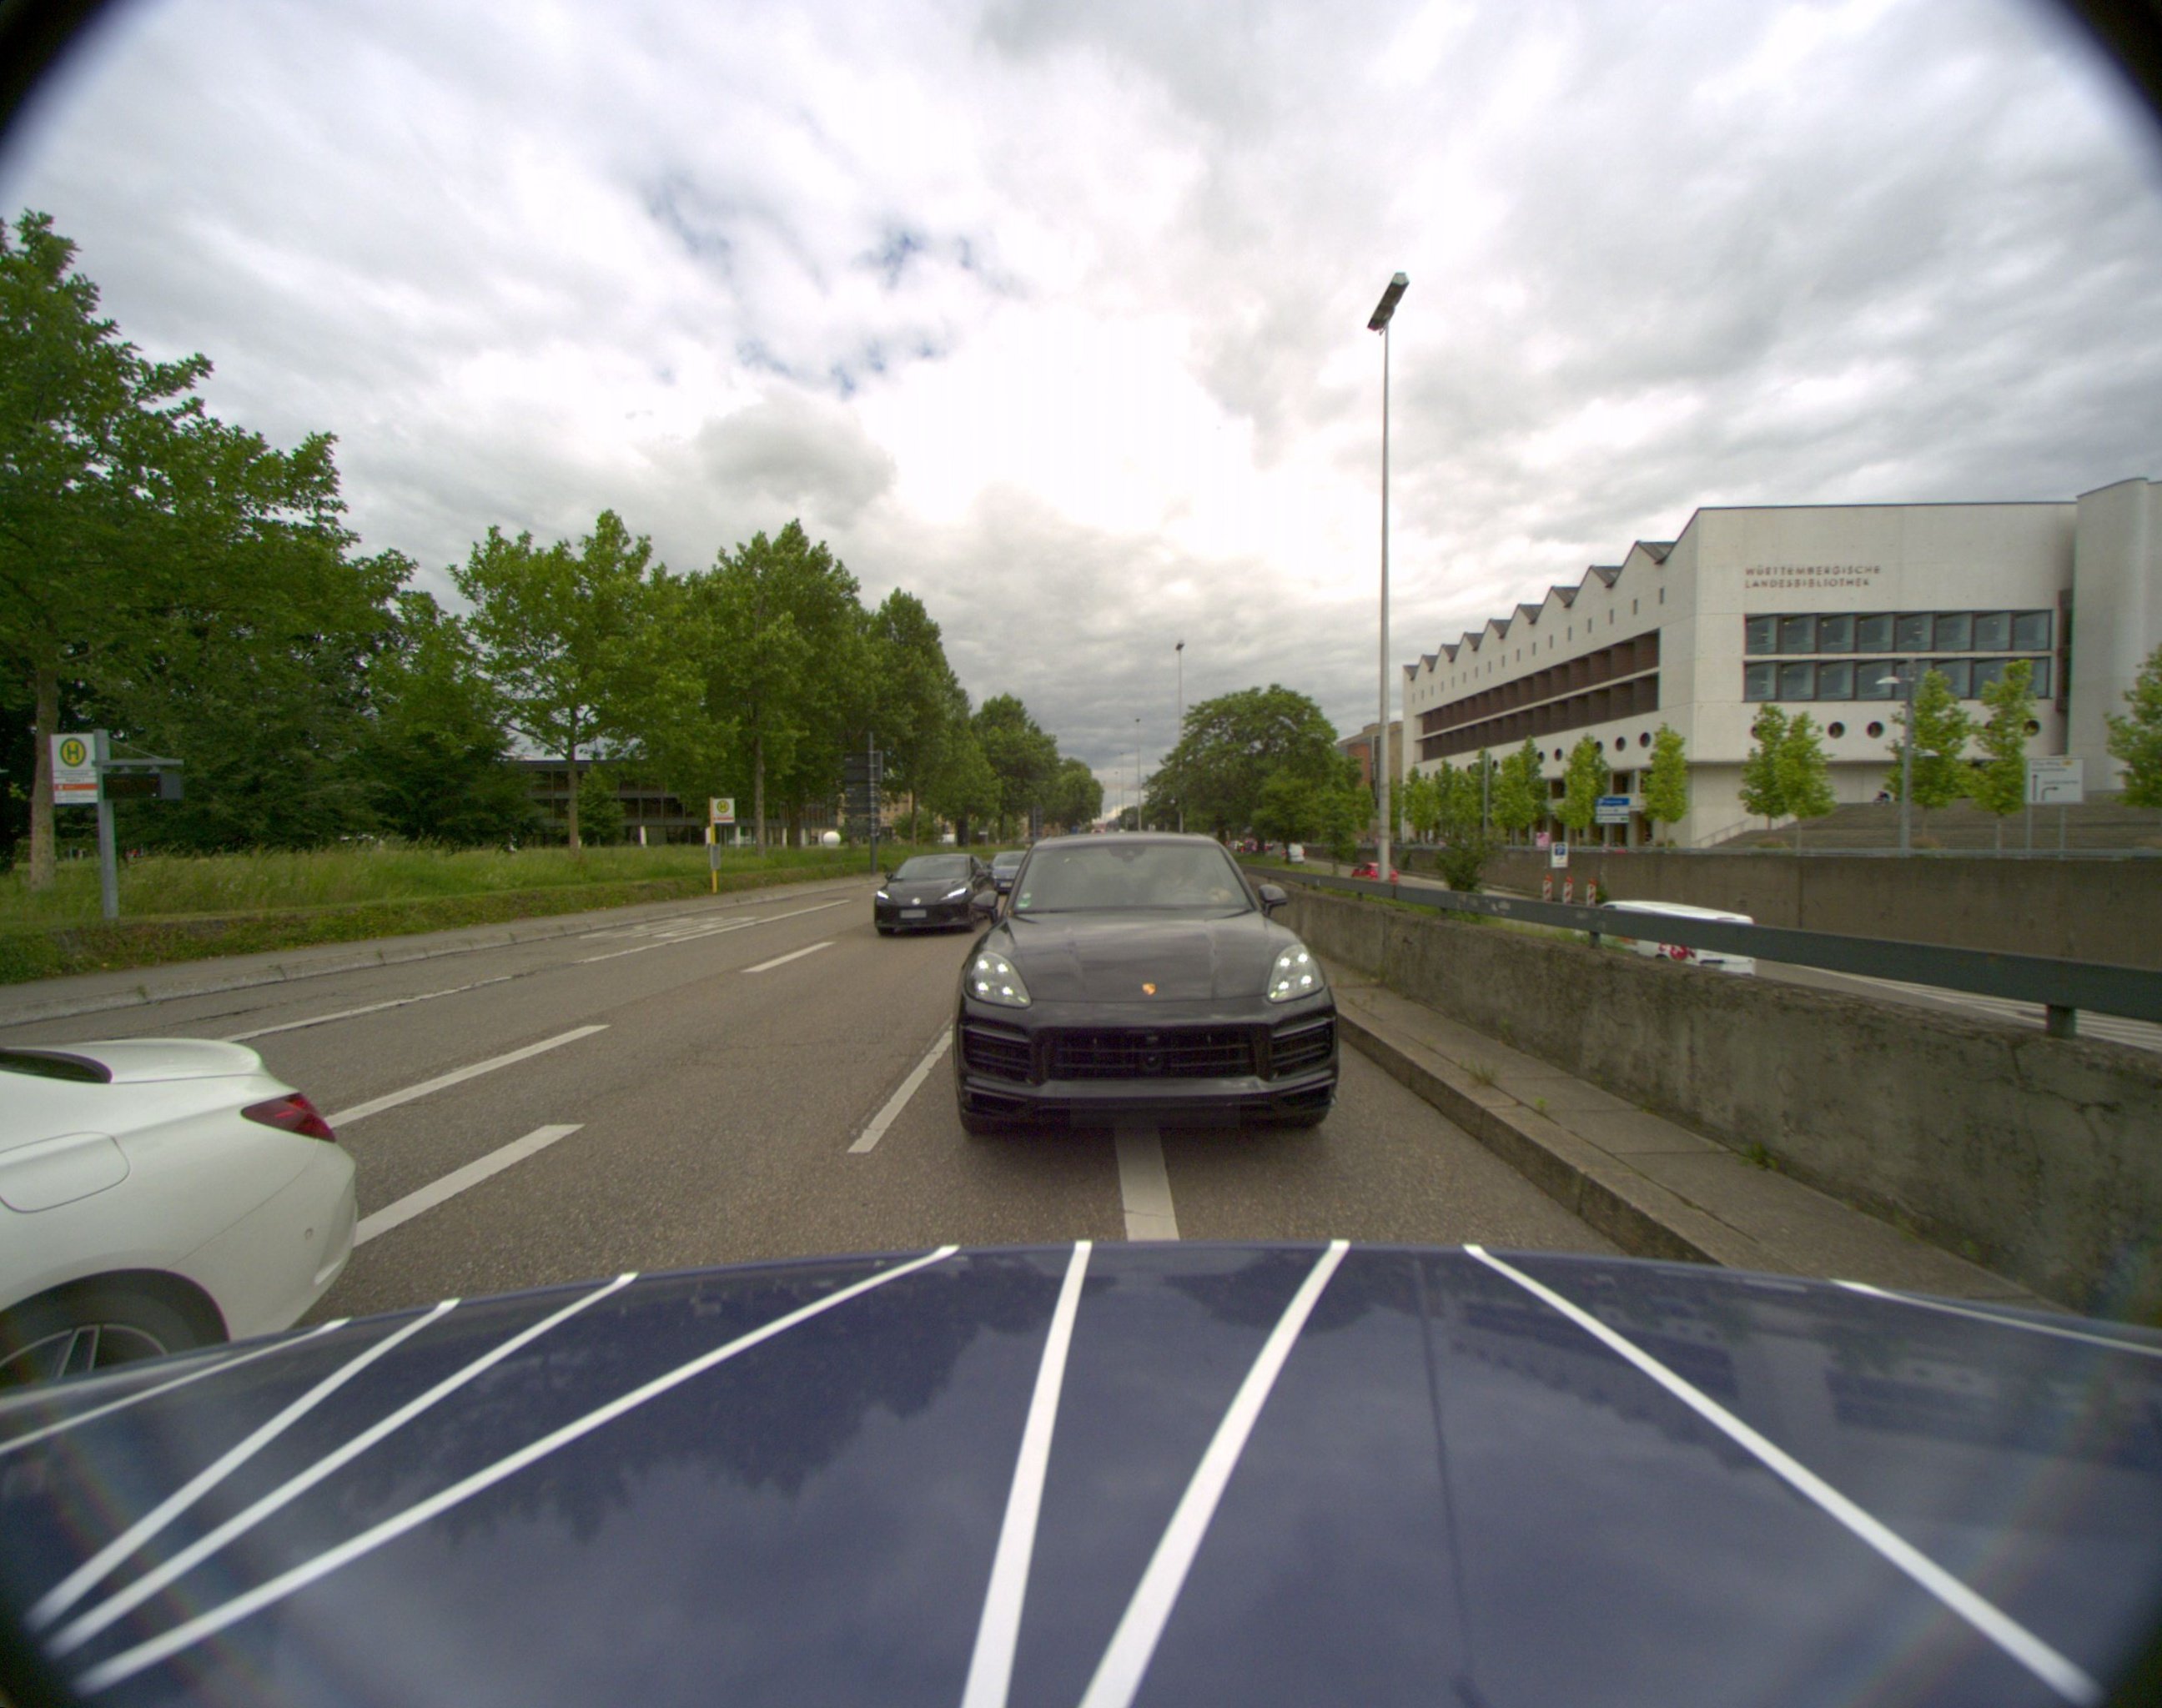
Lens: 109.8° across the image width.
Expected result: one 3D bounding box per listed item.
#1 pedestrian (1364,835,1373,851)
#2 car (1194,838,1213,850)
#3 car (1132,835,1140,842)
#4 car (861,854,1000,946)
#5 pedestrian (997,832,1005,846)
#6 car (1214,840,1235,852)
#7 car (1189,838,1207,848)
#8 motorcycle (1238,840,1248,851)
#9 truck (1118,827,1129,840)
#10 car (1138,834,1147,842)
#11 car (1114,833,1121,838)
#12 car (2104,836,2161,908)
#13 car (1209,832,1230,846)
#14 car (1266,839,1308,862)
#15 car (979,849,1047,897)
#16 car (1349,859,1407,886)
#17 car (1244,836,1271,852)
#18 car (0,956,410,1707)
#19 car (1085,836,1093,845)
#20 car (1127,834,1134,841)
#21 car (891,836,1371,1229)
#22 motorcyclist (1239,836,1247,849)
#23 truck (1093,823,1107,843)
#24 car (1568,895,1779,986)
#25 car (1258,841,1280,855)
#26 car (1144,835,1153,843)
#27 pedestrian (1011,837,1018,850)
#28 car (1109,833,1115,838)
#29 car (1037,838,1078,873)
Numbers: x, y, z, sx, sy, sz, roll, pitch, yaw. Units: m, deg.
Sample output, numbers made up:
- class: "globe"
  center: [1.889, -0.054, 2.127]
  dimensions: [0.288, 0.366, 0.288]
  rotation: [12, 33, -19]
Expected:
- class: "pedestrian"
  center: [35.917, -1.381, 95.001]
  dimensions: [0.722, 2.002, 1.016]
  rotation: [-3, 2, 2]
- class: "car"
  center: [17.404, -1.474, 108.116]
  dimensions: [1.998, 1.665, 4.516]
  rotation: [2, 1, 0]
- class: "car"
  center: [11.296, -3.168, 156.344]
  dimensions: [1.372, 1.389, 3.722]
  rotation: [-1, -1, -1]
- class: "car"
  center: [-2.859, 0.808, 15.388]
  dimensions: [1.852, 1.481, 4.092]
  rotation: [-1, 1, 2]
- class: "pedestrian"
  center: [-11.249, -2.108, 106.416]
  dimensions: [0.892, 2.002, 1.181]
  rotation: [-3, 2, 2]
- class: "car"
  center: [20.972, -1.206, 111.325]
  dimensions: [2.161, 1.636, 4.515]
  rotation: [2, 3, -1]
- class: "car"
  center: [17.381, -1.600, 112.909]
  dimensions: [1.998, 1.390, 3.999]
  rotation: [2, 1, 0]
- class: "motorcycle"
  center: [17.900, -0.962, 84.069]
  dimensions: [0.687, 1.092, 2.049]
  rotation: [3, 4, 1]
- class: "truck"
  center: [11.343, -5.606, 204.108]
  dimensions: [2.576, 3.289, 8.078]
  rotation: [-3, 2, 2]
- class: "car"
  center: [11.594, -3.023, 142.531]
  dimensions: [1.372, 1.390, 3.721]
  rotation: [2, 1, 0]
- class: "car"
  center: [11.776, -5.900, 242.524]
  dimensions: [1.998, 1.753, 3.999]
  rotation: [2, 2, 0]
- class: "car"
  center: [28.623, 0.454, 18.063]
  dimensions: [2.180, 1.844, 4.734]
  rotation: [-1, 1, -3]
- class: "car"
  center: [16.939, -1.830, 93.241]
  dimensions: [1.779, 1.481, 4.143]
  rotation: [0, 4, 0]
- class: "car"
  center: [17.755, -0.368, 65.805]
  dimensions: [1.999, 1.630, 5.246]
  rotation: [5, 3, -1]
- class: "car"
  center: [-2.255, 0.590, 26.082]
  dimensions: [1.805, 1.426, 4.015]
  rotation: [-1, 1, 2]
- class: "car"
  center: [17.787, 1.069, 45.659]
  dimensions: [1.998, 1.477, 4.000]
  rotation: [-1, 1, 2]
- class: "car"
  center: [20.551, -1.136, 88.679]
  dimensions: [1.875, 1.604, 4.386]
  rotation: [0, 4, -3]
- class: "car"
  center: [-3.185, 1.100, 0.216]
  dimensions: [1.799, 1.412, 4.526]
  rotation: [-1, 1, 2]
- class: "car"
  center: [1.979, -3.253, 183.824]
  dimensions: [1.693, 2.002, 3.999]
  rotation: [-3, 2, 2]
- class: "car"
  center: [10.922, -3.640, 168.248]
  dimensions: [1.442, 1.390, 3.721]
  rotation: [2, 1, 0]
- class: "car"
  center: [0.326, 0.684, 5.435]
  dimensions: [1.904, 1.581, 4.732]
  rotation: [-1, 1, 3]
- class: "motorcyclist"
  center: [17.913, -1.276, 84.146]
  dimensions: [0.671, 1.345, 0.717]
  rotation: [3, 4, 0]
- class: "truck"
  center: [3.617, -3.888, 142.793]
  dimensions: [2.357, 3.518, 9.423]
  rotation: [-3, 2, 2]
- class: "car"
  center: [17.108, 2.397, 22.378]
  dimensions: [2.224, 2.002, 5.115]
  rotation: [-1, 1, 0]
- class: "car"
  center: [25.255, -0.886, 102.178]
  dimensions: [1.998, 1.753, 3.999]
  rotation: [2, 2, 0]
- class: "car"
  center: [11.907, -2.604, 134.361]
  dimensions: [1.372, 1.390, 3.721]
  rotation: [2, 1, 0]
- class: "pedestrian"
  center: [-10.541, -1.734, 120.387]
  dimensions: [0.892, 2.002, 1.181]
  rotation: [-3, 2, 2]
- class: "car"
  center: [10.486, -6.377, 258.617]
  dimensions: [1.998, 1.753, 3.999]
  rotation: [2, 2, 0]
- class: "car"
  center: [-1.276, 0.053, 43.110]
  dimensions: [2.021, 1.823, 4.804]
  rotation: [-1, 1, 2]
